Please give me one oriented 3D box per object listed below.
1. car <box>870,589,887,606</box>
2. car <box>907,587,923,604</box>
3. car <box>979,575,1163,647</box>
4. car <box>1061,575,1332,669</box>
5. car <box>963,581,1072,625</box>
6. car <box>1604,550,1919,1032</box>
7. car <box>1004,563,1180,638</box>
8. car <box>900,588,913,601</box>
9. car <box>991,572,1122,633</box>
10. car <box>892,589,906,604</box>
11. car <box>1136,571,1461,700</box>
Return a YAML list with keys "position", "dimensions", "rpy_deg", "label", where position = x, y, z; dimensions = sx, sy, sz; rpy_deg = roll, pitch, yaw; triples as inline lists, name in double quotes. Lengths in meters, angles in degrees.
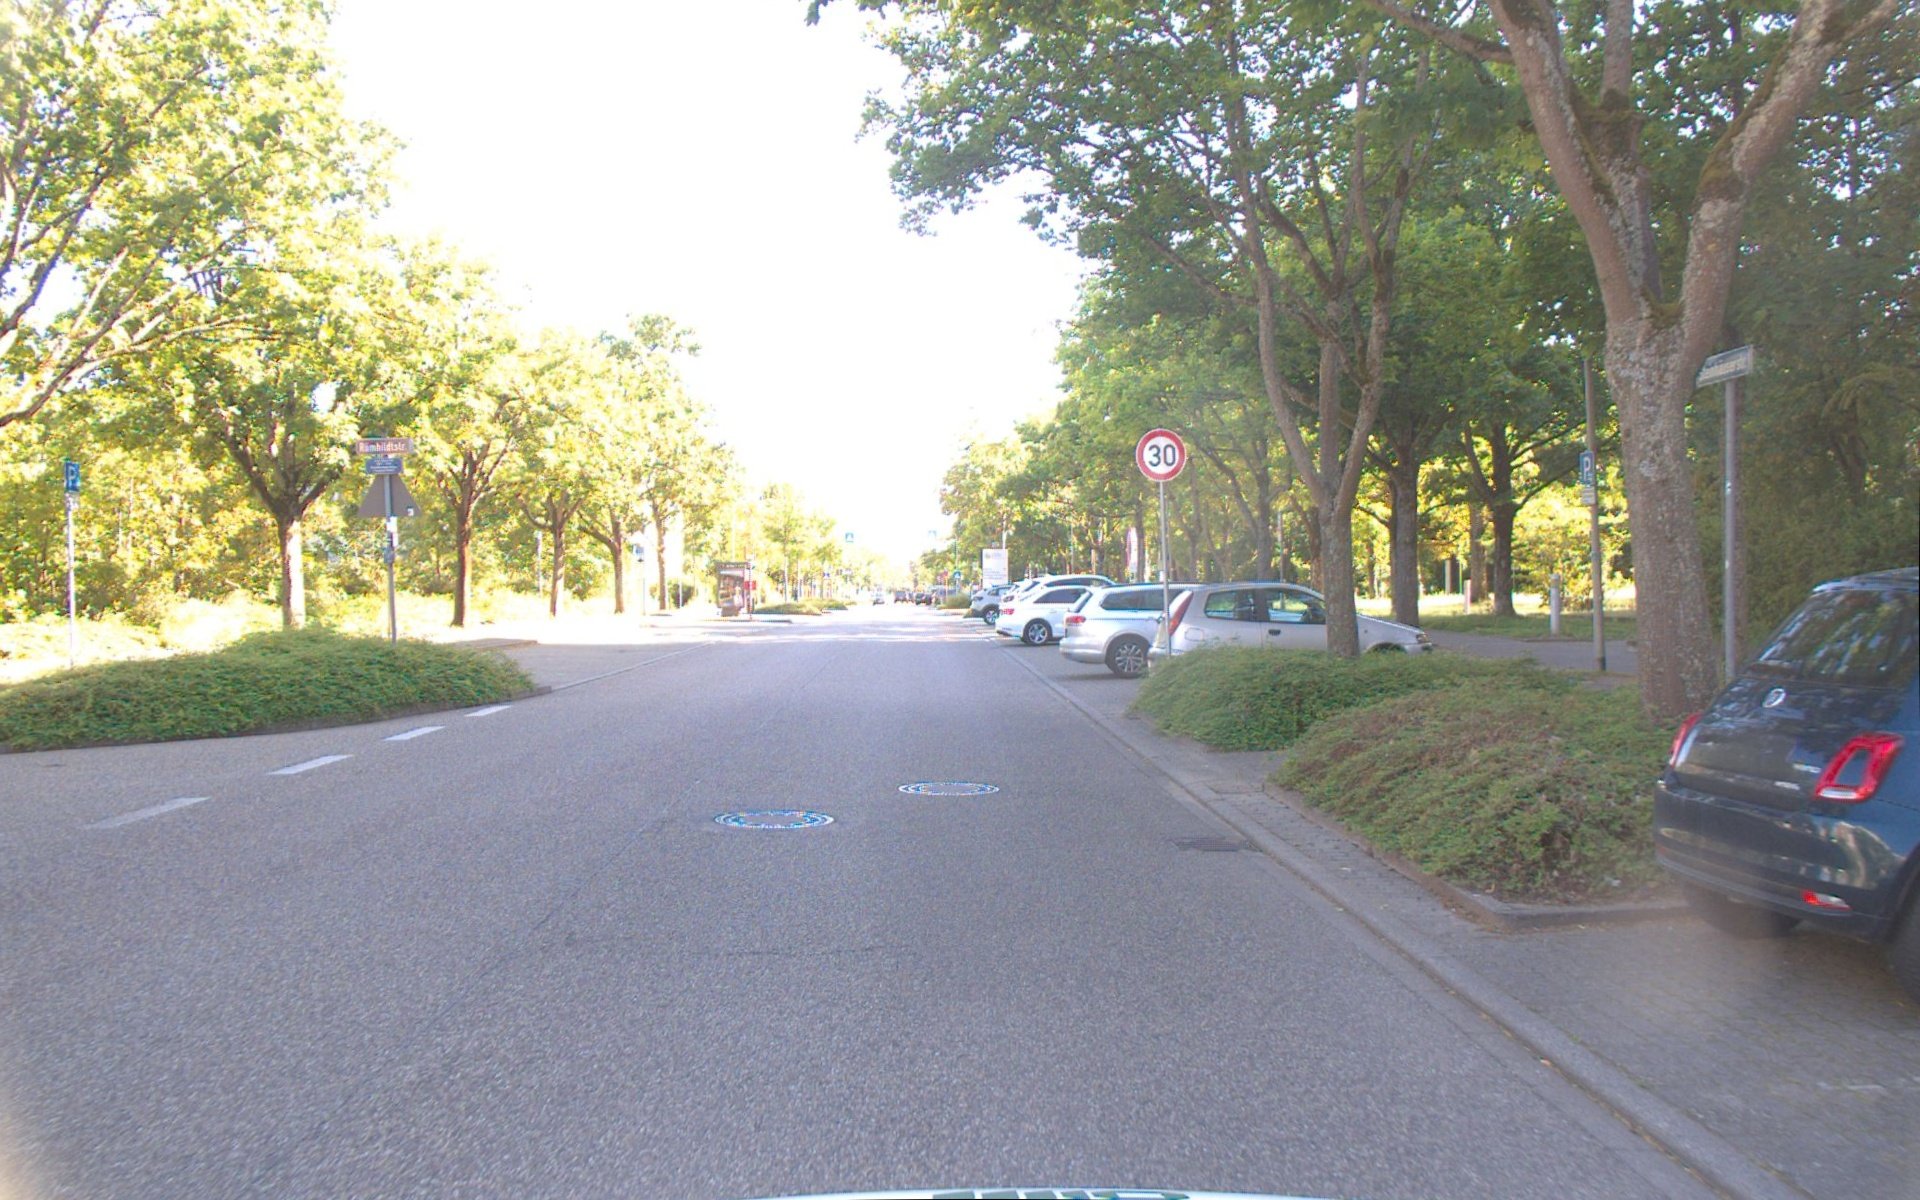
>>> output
- position: [-8.892, -0.310, 180.984]
  dimensions: [1.791, 1.806, 3.739]
  rpy_deg: [0, 0, -1]
  label: "car"
- position: [-5.503, -0.582, 203.287]
  dimensions: [1.953, 2.049, 3.999]
  rpy_deg: [0, 0, -1]
  label: "car"
- position: [2.689, 0.251, 40.633]
  dimensions: [4.257, 1.515, 1.737]
  rpy_deg: [-3, 0, -4]
  label: "car"
- position: [3.735, 0.339, 26.735]
  dimensions: [4.185, 1.453, 1.828]
  rpy_deg: [0, 0, 3]
  label: "car"
- position: [2.240, 0.110, 64.990]
  dimensions: [4.081, 1.453, 1.999]
  rpy_deg: [-3, 0, -2]
  label: "car"
- position: [4.685, 0.529, 6.334]
  dimensions: [3.734, 1.525, 1.700]
  rpy_deg: [-3, 0, -5]
  label: "car"
- position: [3.421, -0.007, 43.357]
  dimensions: [4.348, 1.676, 1.815]
  rpy_deg: [-3, 1, -4]
  label: "car"
- position: [-7.977, -0.830, 247.868]
  dimensions: [1.953, 2.049, 3.999]
  rpy_deg: [0, 0, -1]
  label: "car"
- position: [2.786, 0.046, 48.247]
  dimensions: [3.616, 1.549, 1.649]
  rpy_deg: [-3, 1, -4]
  label: "car"
- position: [-8.420, -0.477, 228.535]
  dimensions: [1.953, 2.049, 3.999]
  rpy_deg: [0, 0, -1]
  label: "car"
- position: [4.415, 0.438, 21.957]
  dimensions: [3.906, 1.476, 1.717]
  rpy_deg: [-2, 1, -2]
  label: "car"
